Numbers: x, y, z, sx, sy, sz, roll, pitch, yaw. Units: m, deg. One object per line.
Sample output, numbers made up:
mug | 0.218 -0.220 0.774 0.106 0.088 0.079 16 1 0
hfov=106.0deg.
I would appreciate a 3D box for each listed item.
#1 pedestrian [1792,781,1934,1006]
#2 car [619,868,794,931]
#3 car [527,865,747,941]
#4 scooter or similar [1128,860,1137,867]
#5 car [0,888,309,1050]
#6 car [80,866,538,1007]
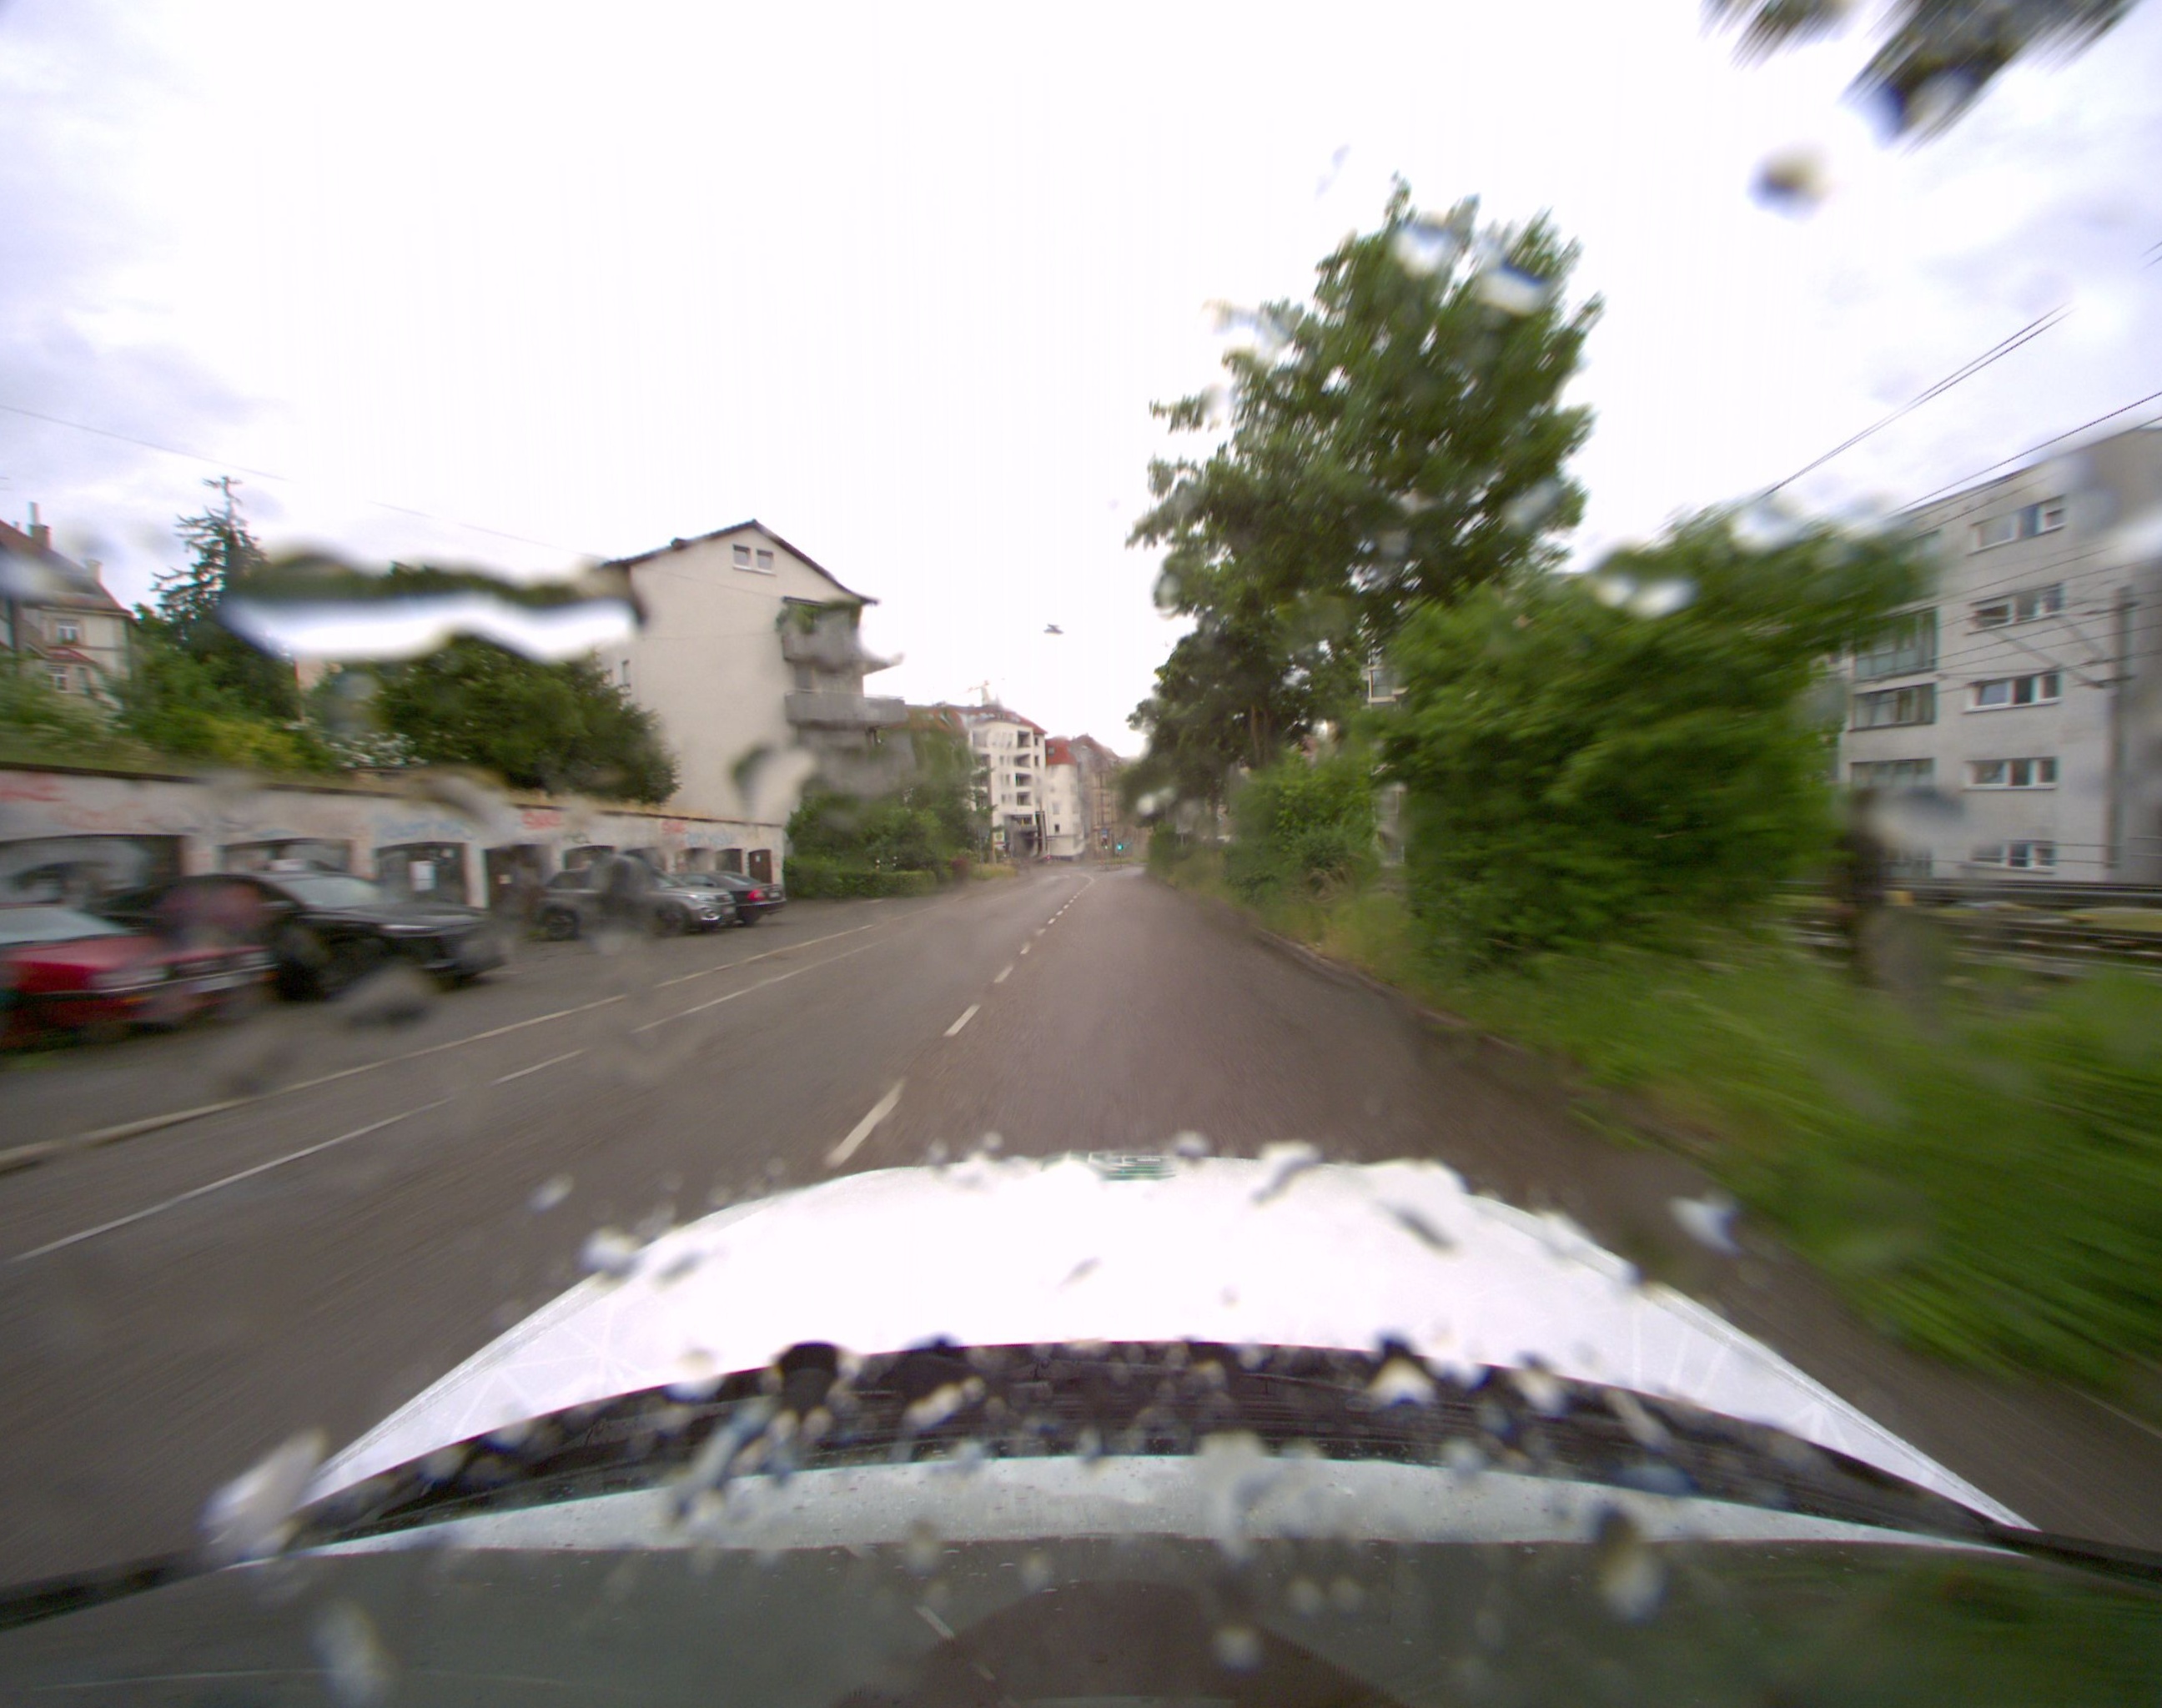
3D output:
pedestrian | 6.160 0.302 6.436 0.561 1.687 0.525 -2 0 1
car | -9.576 1.147 21.021 3.616 1.407 1.785 -1 1 3
car | -10.057 1.072 18.713 3.977 1.559 1.878 -1 -1 -3
scooter or similar | 5.942 1.103 93.581 0.480 0.761 1.338 -2 -1 30
car | -10.579 1.124 8.298 3.625 1.405 1.714 -1 -1 -5
car | -10.240 1.044 11.062 4.433 1.602 1.815 -1 1 1
